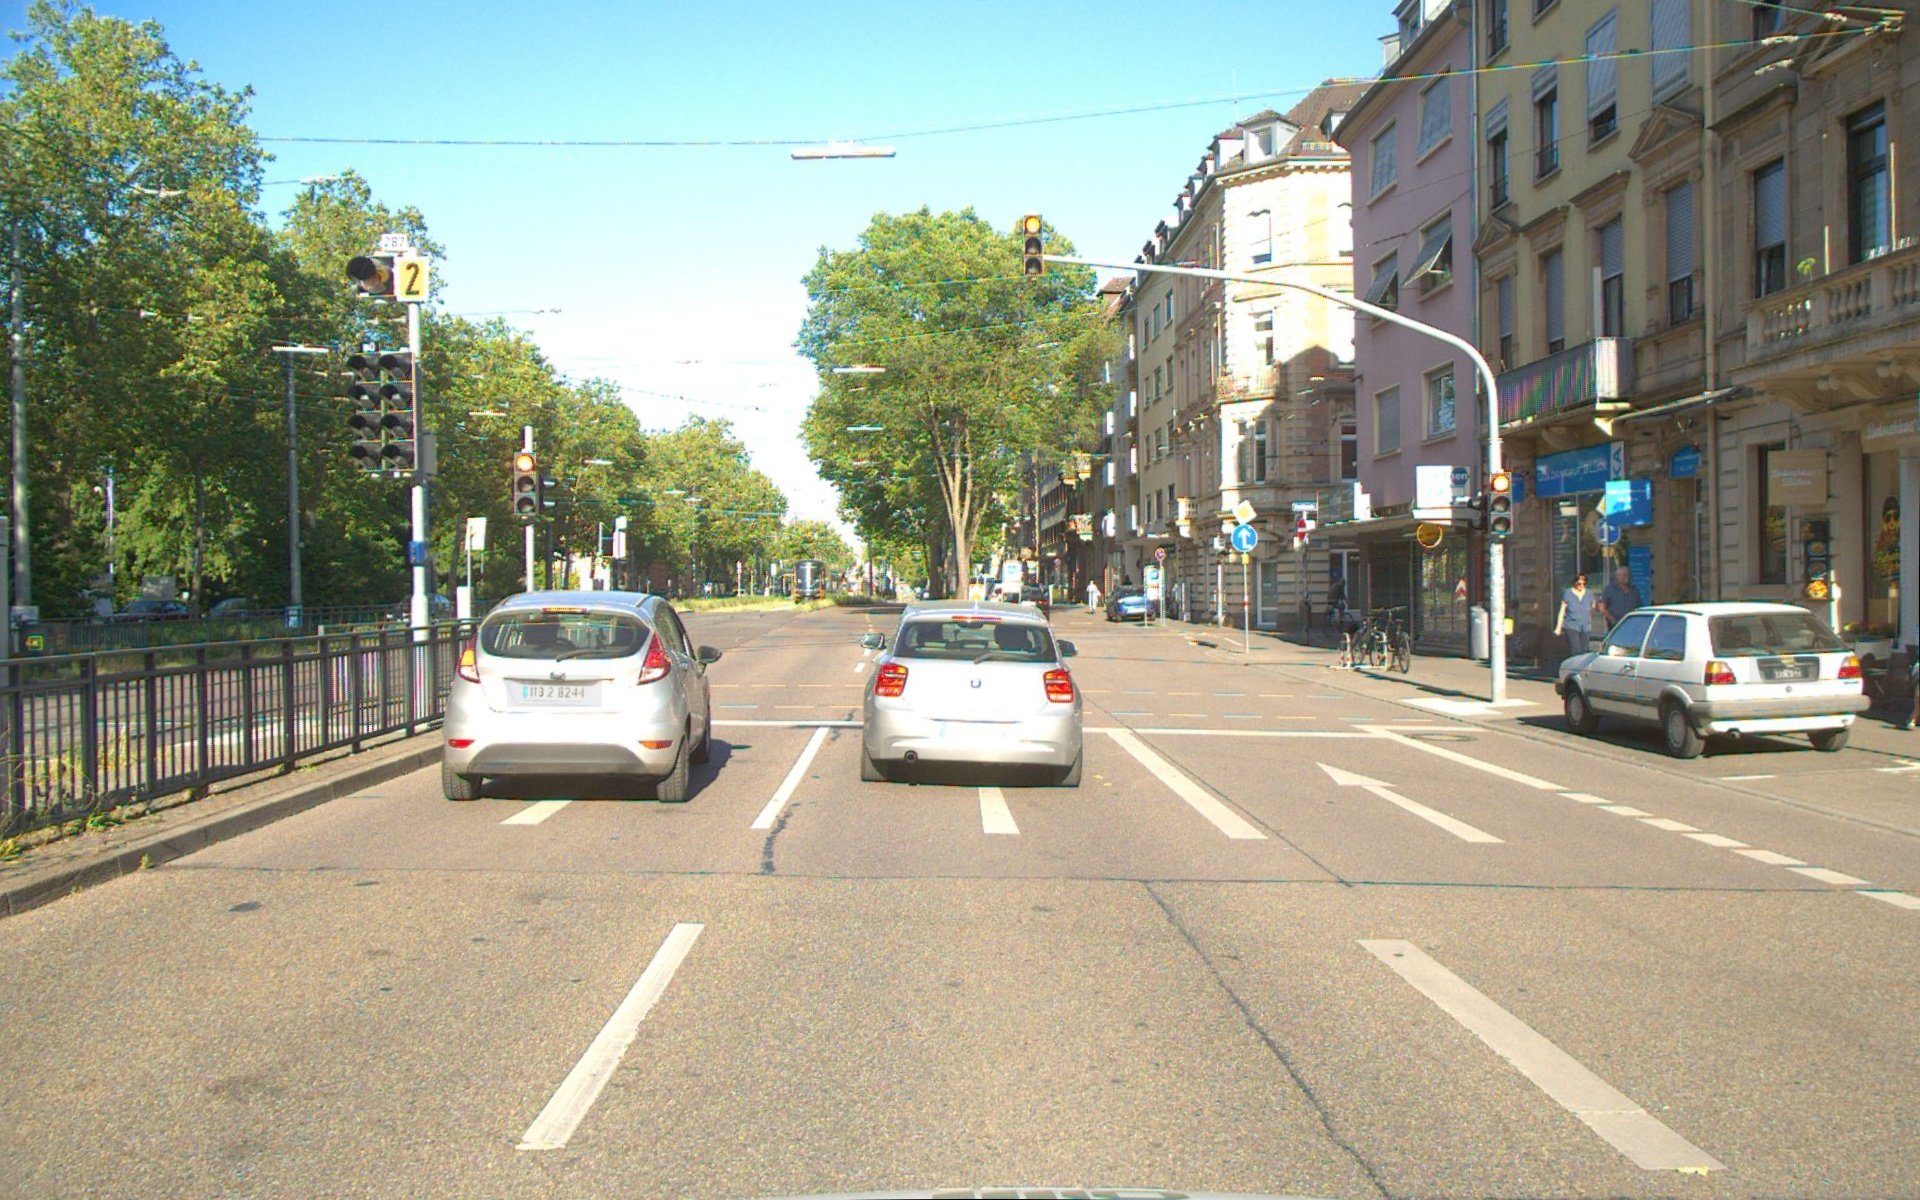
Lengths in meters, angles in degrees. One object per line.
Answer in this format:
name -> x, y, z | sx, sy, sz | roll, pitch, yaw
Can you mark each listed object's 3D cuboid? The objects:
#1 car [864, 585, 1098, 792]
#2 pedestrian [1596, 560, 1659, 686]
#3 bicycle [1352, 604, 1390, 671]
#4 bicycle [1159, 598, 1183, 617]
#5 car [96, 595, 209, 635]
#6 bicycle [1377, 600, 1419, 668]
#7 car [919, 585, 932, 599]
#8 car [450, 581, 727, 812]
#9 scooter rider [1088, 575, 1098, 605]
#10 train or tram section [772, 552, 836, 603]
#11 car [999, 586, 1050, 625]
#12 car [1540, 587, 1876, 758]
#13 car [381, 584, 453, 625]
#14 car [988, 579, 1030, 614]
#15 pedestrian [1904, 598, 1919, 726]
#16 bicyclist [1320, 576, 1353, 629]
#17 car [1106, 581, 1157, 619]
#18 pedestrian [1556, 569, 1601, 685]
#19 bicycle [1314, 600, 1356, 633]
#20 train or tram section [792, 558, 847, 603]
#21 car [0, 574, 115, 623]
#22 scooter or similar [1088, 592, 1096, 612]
car -> 0.124, 0.641, 14.286 | 1.705, 1.493, 3.999 | 1, 1, -1
pedestrian -> 10.018, 0.336, 24.831 | 0.659, 1.838, 0.530 | -2, 0, -1
bicycle -> 7.501, 0.666, 30.213 | 0.405, 1.160, 1.811 | 0, 1, 5
bicycle -> 9.065, 0.307, 71.177 | 0.739, 0.784, 1.944 | 0, 1, -2
car -> -29.497, 0.548, 60.563 | 1.897, 1.372, 4.847 | 0, 0, -2
bicycle -> 7.990, 0.602, 30.217 | 0.439, 1.179, 1.759 | 0, 1, 5
car -> -5.272, -1.221, 256.507 | 1.953, 2.049, 4.000 | -1, 1, -1
car -> -2.707, 0.607, 12.795 | 1.578, 1.493, 3.886 | 0, 1, -5
scooter rider -> 6.838, -0.497, 85.217 | 0.456, 1.531, 0.811 | 0, -1, 2
train or tram section -> -12.742, -1.836, 136.757 | 3.888, 3.933, 17.486 | 0, 1, -1
car -> 2.499, 0.179, 64.852 | 1.701, 1.458, 3.676 | 1, 1, -2
car -> 7.520, 0.649, 17.070 | 1.531, 1.440, 4.003 | -4, 1, -1
car -> -21.443, 0.145, 65.487 | 1.650, 1.525, 4.340 | 0, 1, -4
car -> 2.225, -0.182, 76.024 | 1.690, 1.533, 3.553 | 1, 1, -2
pedestrian -> 10.205, 0.612, 16.816 | 0.782, 1.303, 0.608 | -4, 0, -3
bicyclist -> 11.004, 0.066, 48.349 | 0.538, 1.528, 0.956 | 0, 0, 40
car -> 7.317, -0.026, 70.672 | 1.700, 1.546, 3.635 | 1, 1, -2
pedestrian -> 9.379, 0.404, 25.080 | 0.538, 1.738, 0.388 | -1, 0, 2
bicycle -> 10.962, 0.482, 48.310 | 0.642, 0.919, 1.331 | 0, 1, 41
train or tram section -> -12.946, -1.785, 154.248 | 3.924, 3.933, 17.486 | 0, 1, -1
car -> -29.518, -0.064, 54.188 | 1.636, 1.536, 4.143 | 0, 1, -2
scooter or similar -> 6.807, 0.098, 85.230 | 0.330, 1.005, 1.284 | 0, 1, 1
